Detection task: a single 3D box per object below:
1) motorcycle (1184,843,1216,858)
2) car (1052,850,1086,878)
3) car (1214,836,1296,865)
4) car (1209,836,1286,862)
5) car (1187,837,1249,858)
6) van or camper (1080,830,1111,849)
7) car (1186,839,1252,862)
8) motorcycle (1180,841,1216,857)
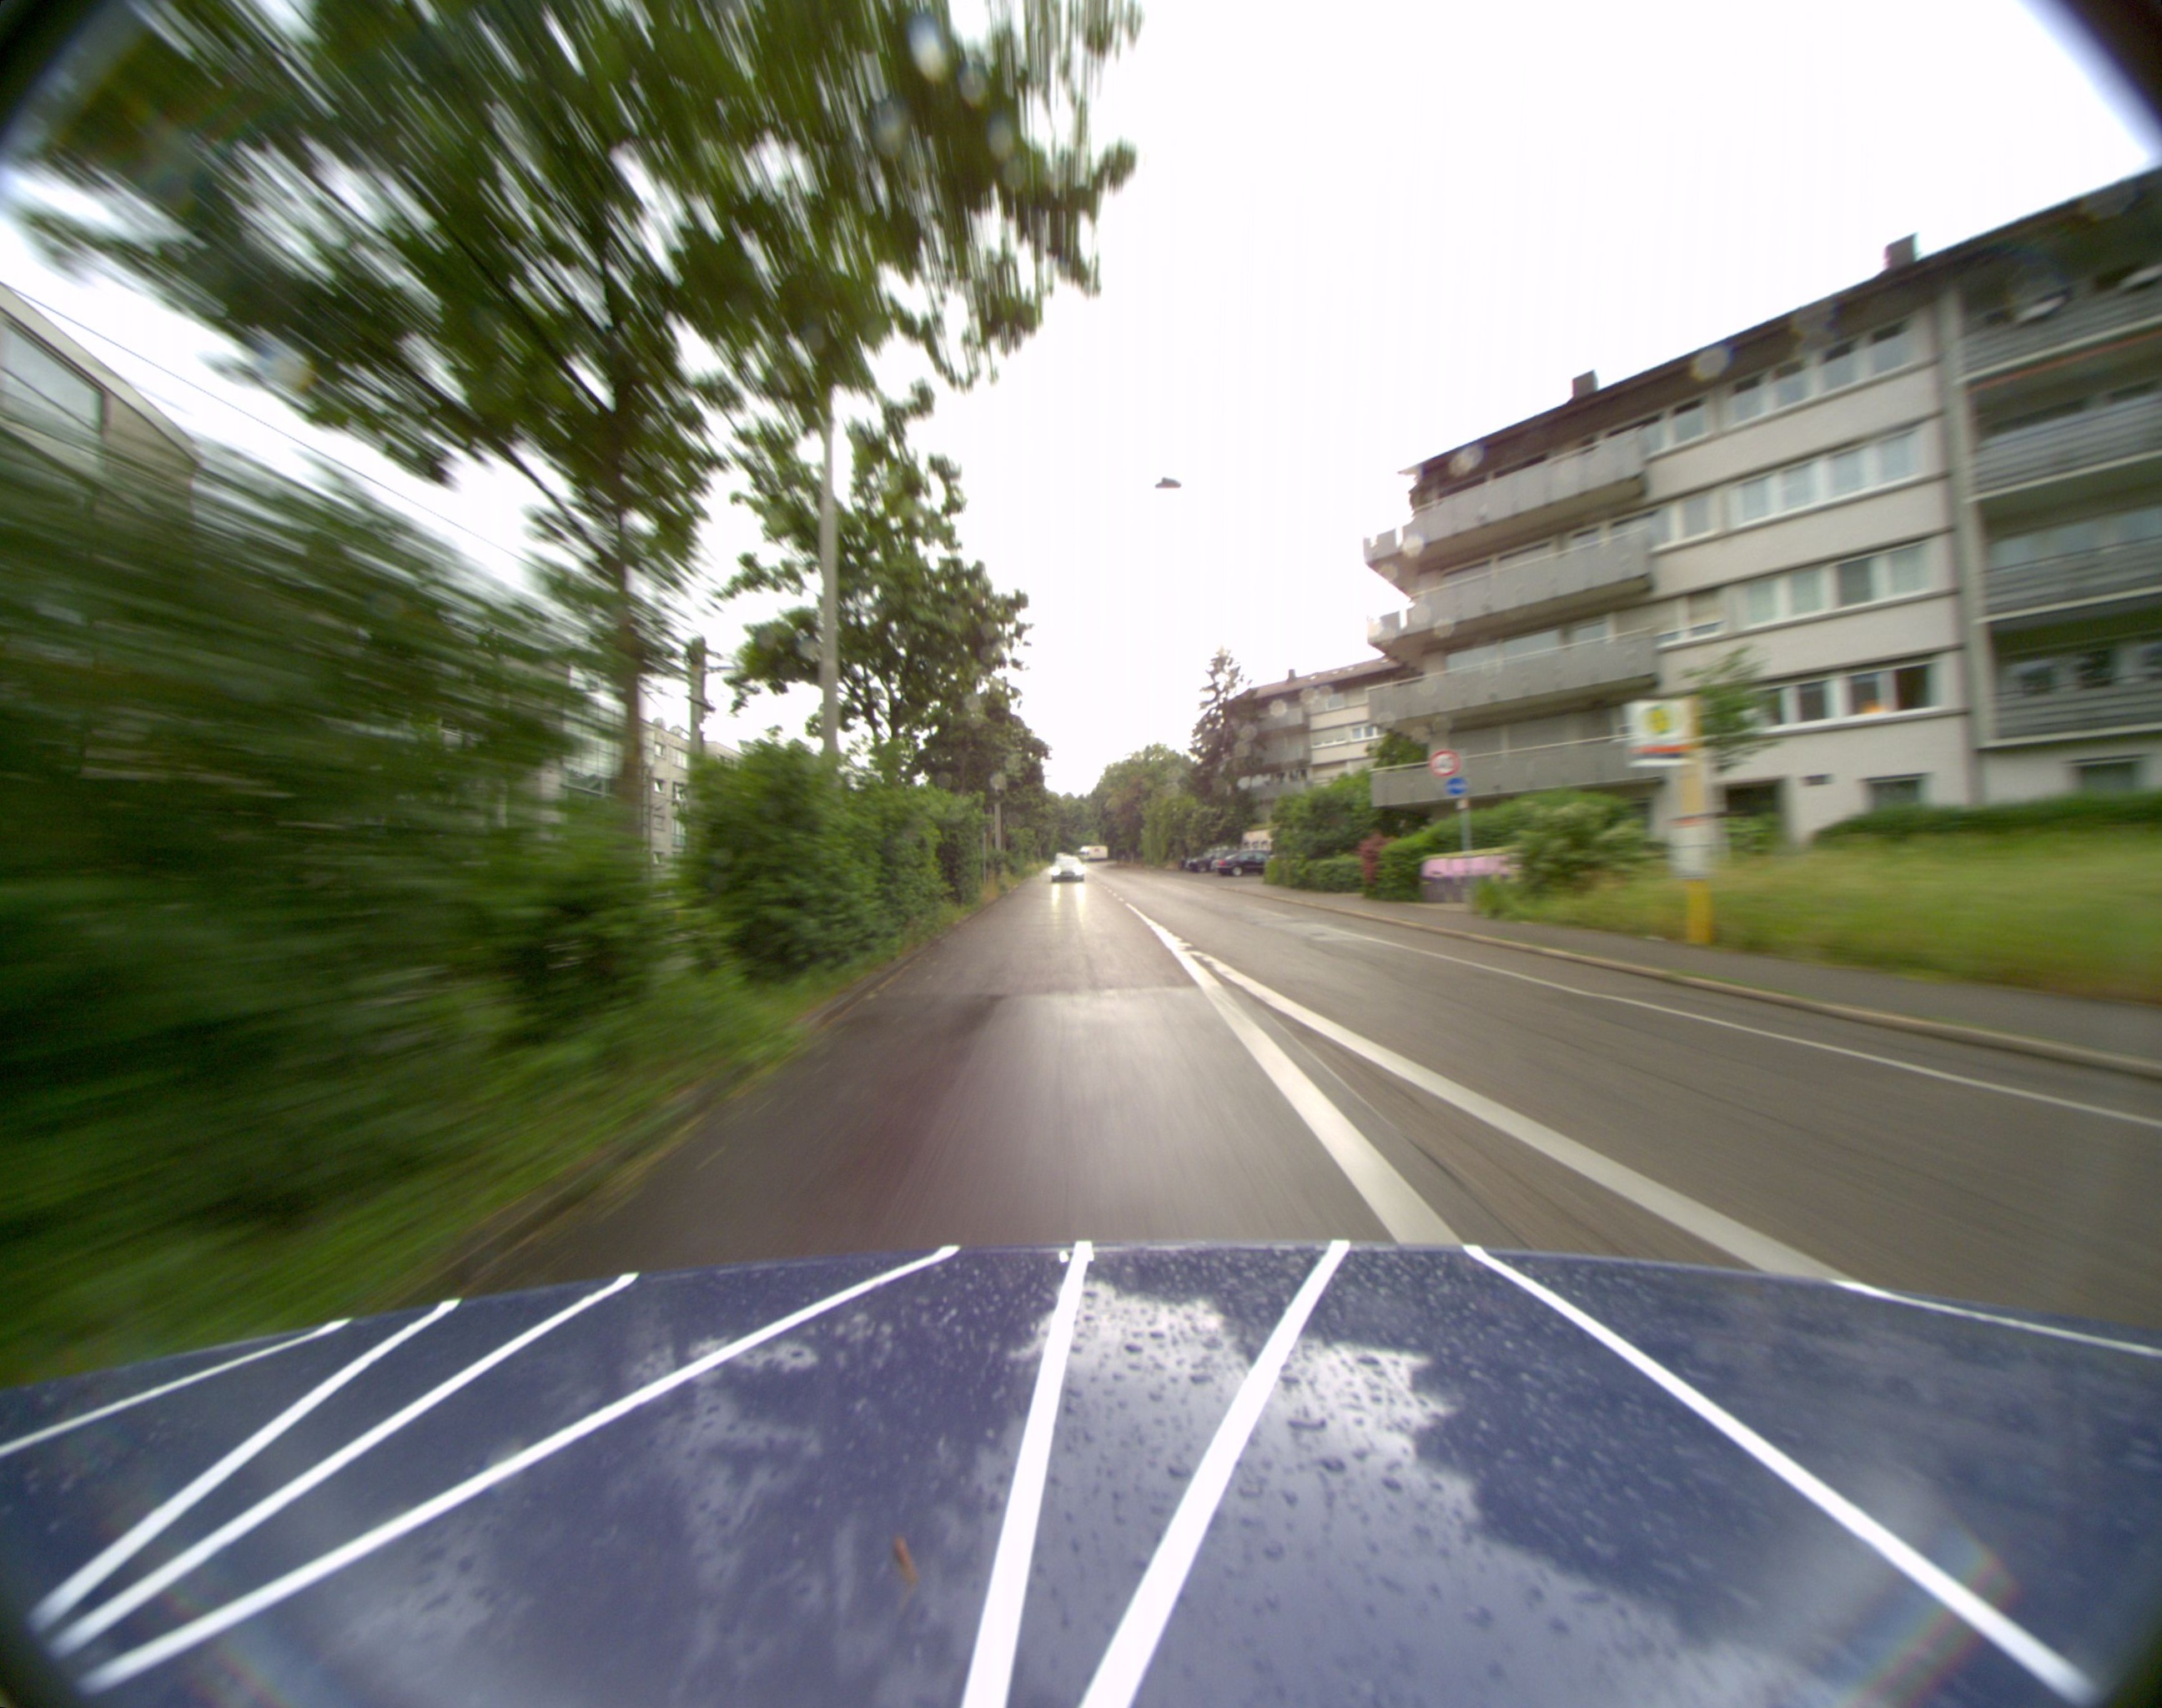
[{"bbox_3d":[9.383,-0.265,59.855,2.460,1.102,0.661,-1,1,6],"label":"motorcycle"},{"bbox_3d":[-0.740,0.631,46.089,1.861,1.469,4.000,-4,-1,-1],"label":"car"},{"bbox_3d":[10.392,-0.228,45.595,4.497,1.481,1.847,-2,2,0],"label":"car"},{"bbox_3d":[10.489,-0.322,47.970,4.441,1.519,1.774,-1,1,-3],"label":"car"},{"bbox_3d":[10.518,-0.496,58.408,4.440,1.519,1.774,-1,1,0],"label":"car"},{"bbox_3d":[3.320,-3.269,169.016,2.881,3.915,8.159,0,1,35],"label":"van or camper"},{"bbox_3d":[10.065,-0.268,55.622,4.440,1.519,1.774,-1,1,0],"label":"car"},{"bbox_3d":[9.492,-0.407,61.618,2.806,1.265,1.280,-1,2,14],"label":"motorcycle"}]
